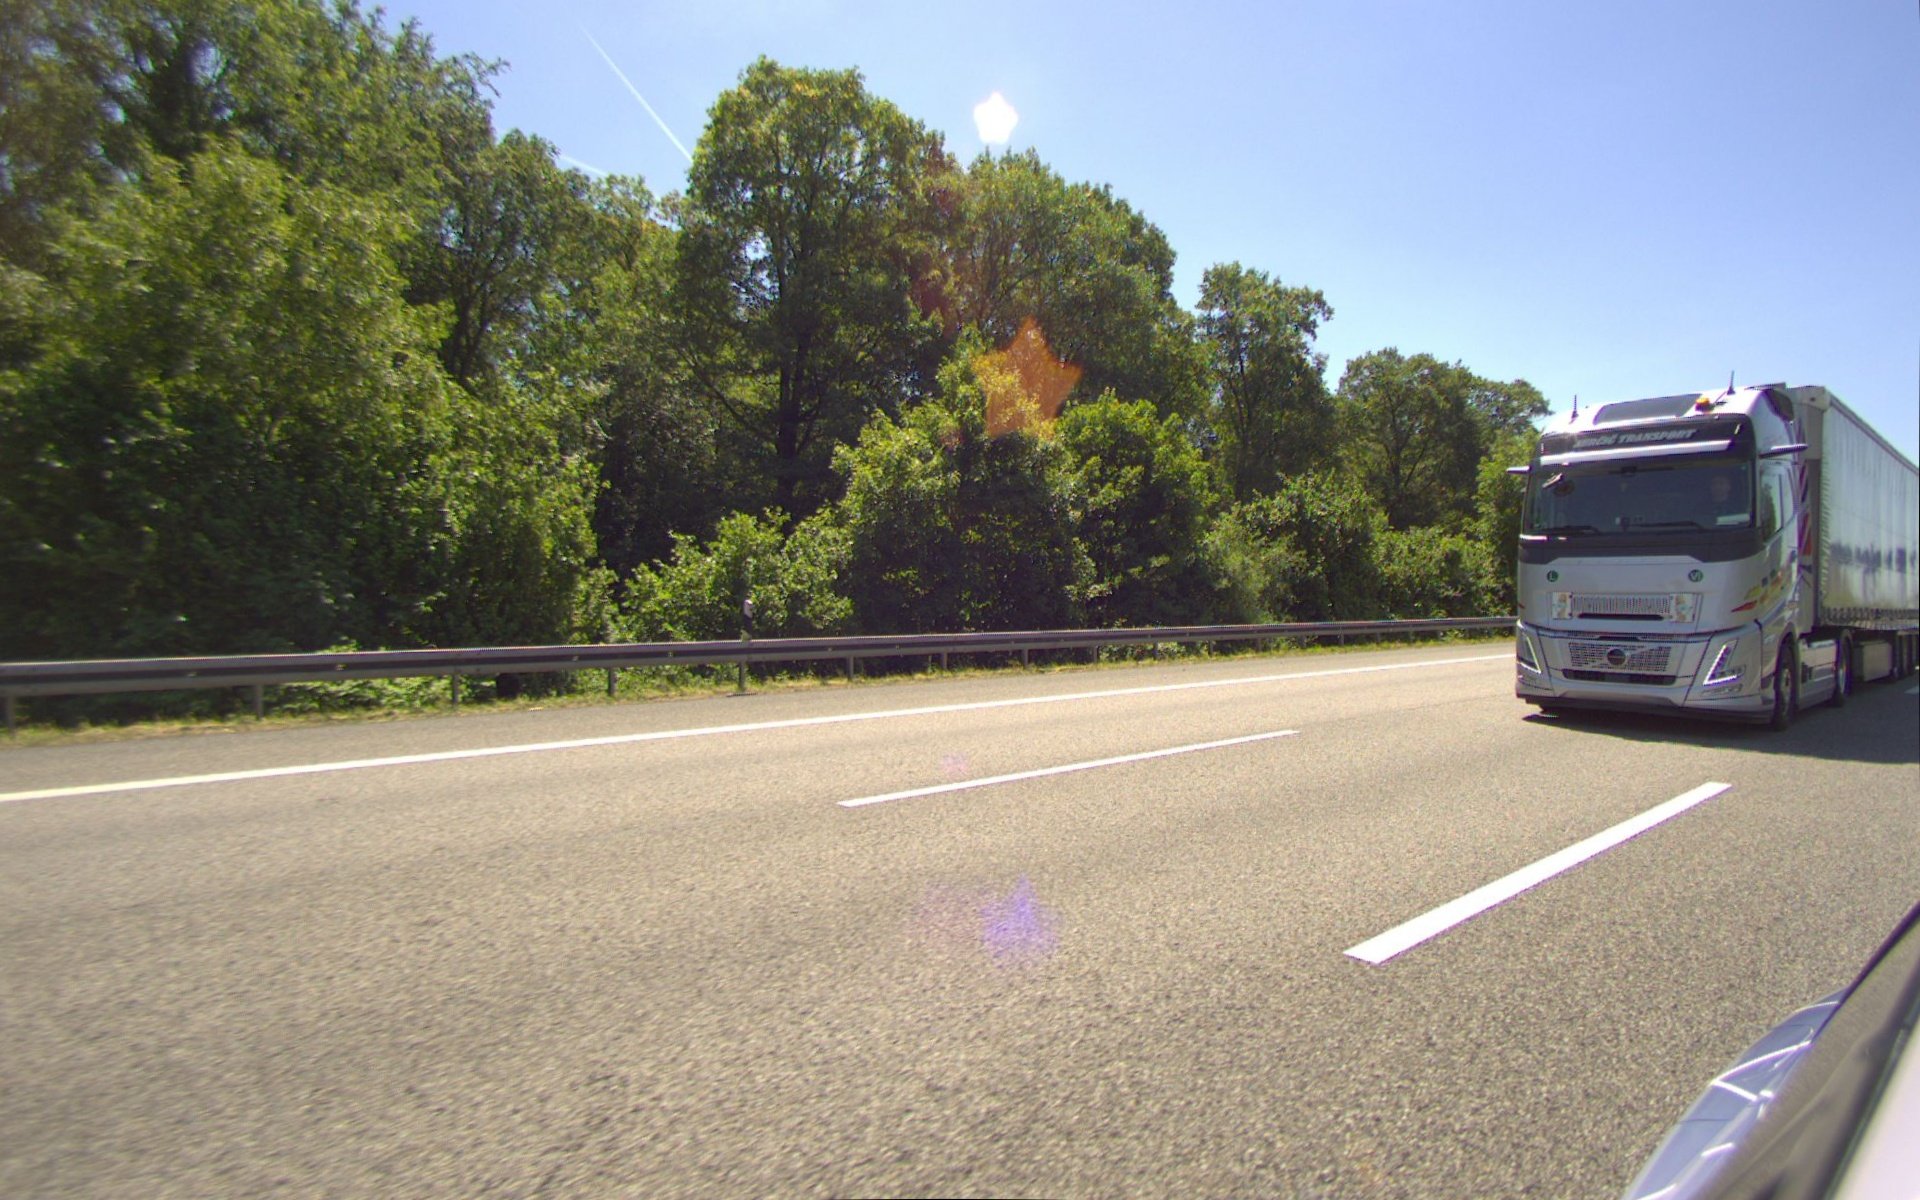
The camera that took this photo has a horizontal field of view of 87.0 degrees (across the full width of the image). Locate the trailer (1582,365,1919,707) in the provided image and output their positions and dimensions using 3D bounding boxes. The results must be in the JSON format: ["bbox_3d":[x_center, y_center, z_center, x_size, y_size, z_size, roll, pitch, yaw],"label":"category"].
[{"bbox_3d":[14.559,-0.801,17.338,13.415,4.025,2.745,0,0,-41],"label":"trailer"}]

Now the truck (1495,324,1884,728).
[{"bbox_3d":[9.718,-0.764,13.202,6.387,4.025,2.727,0,0,-41],"label":"truck"}]
